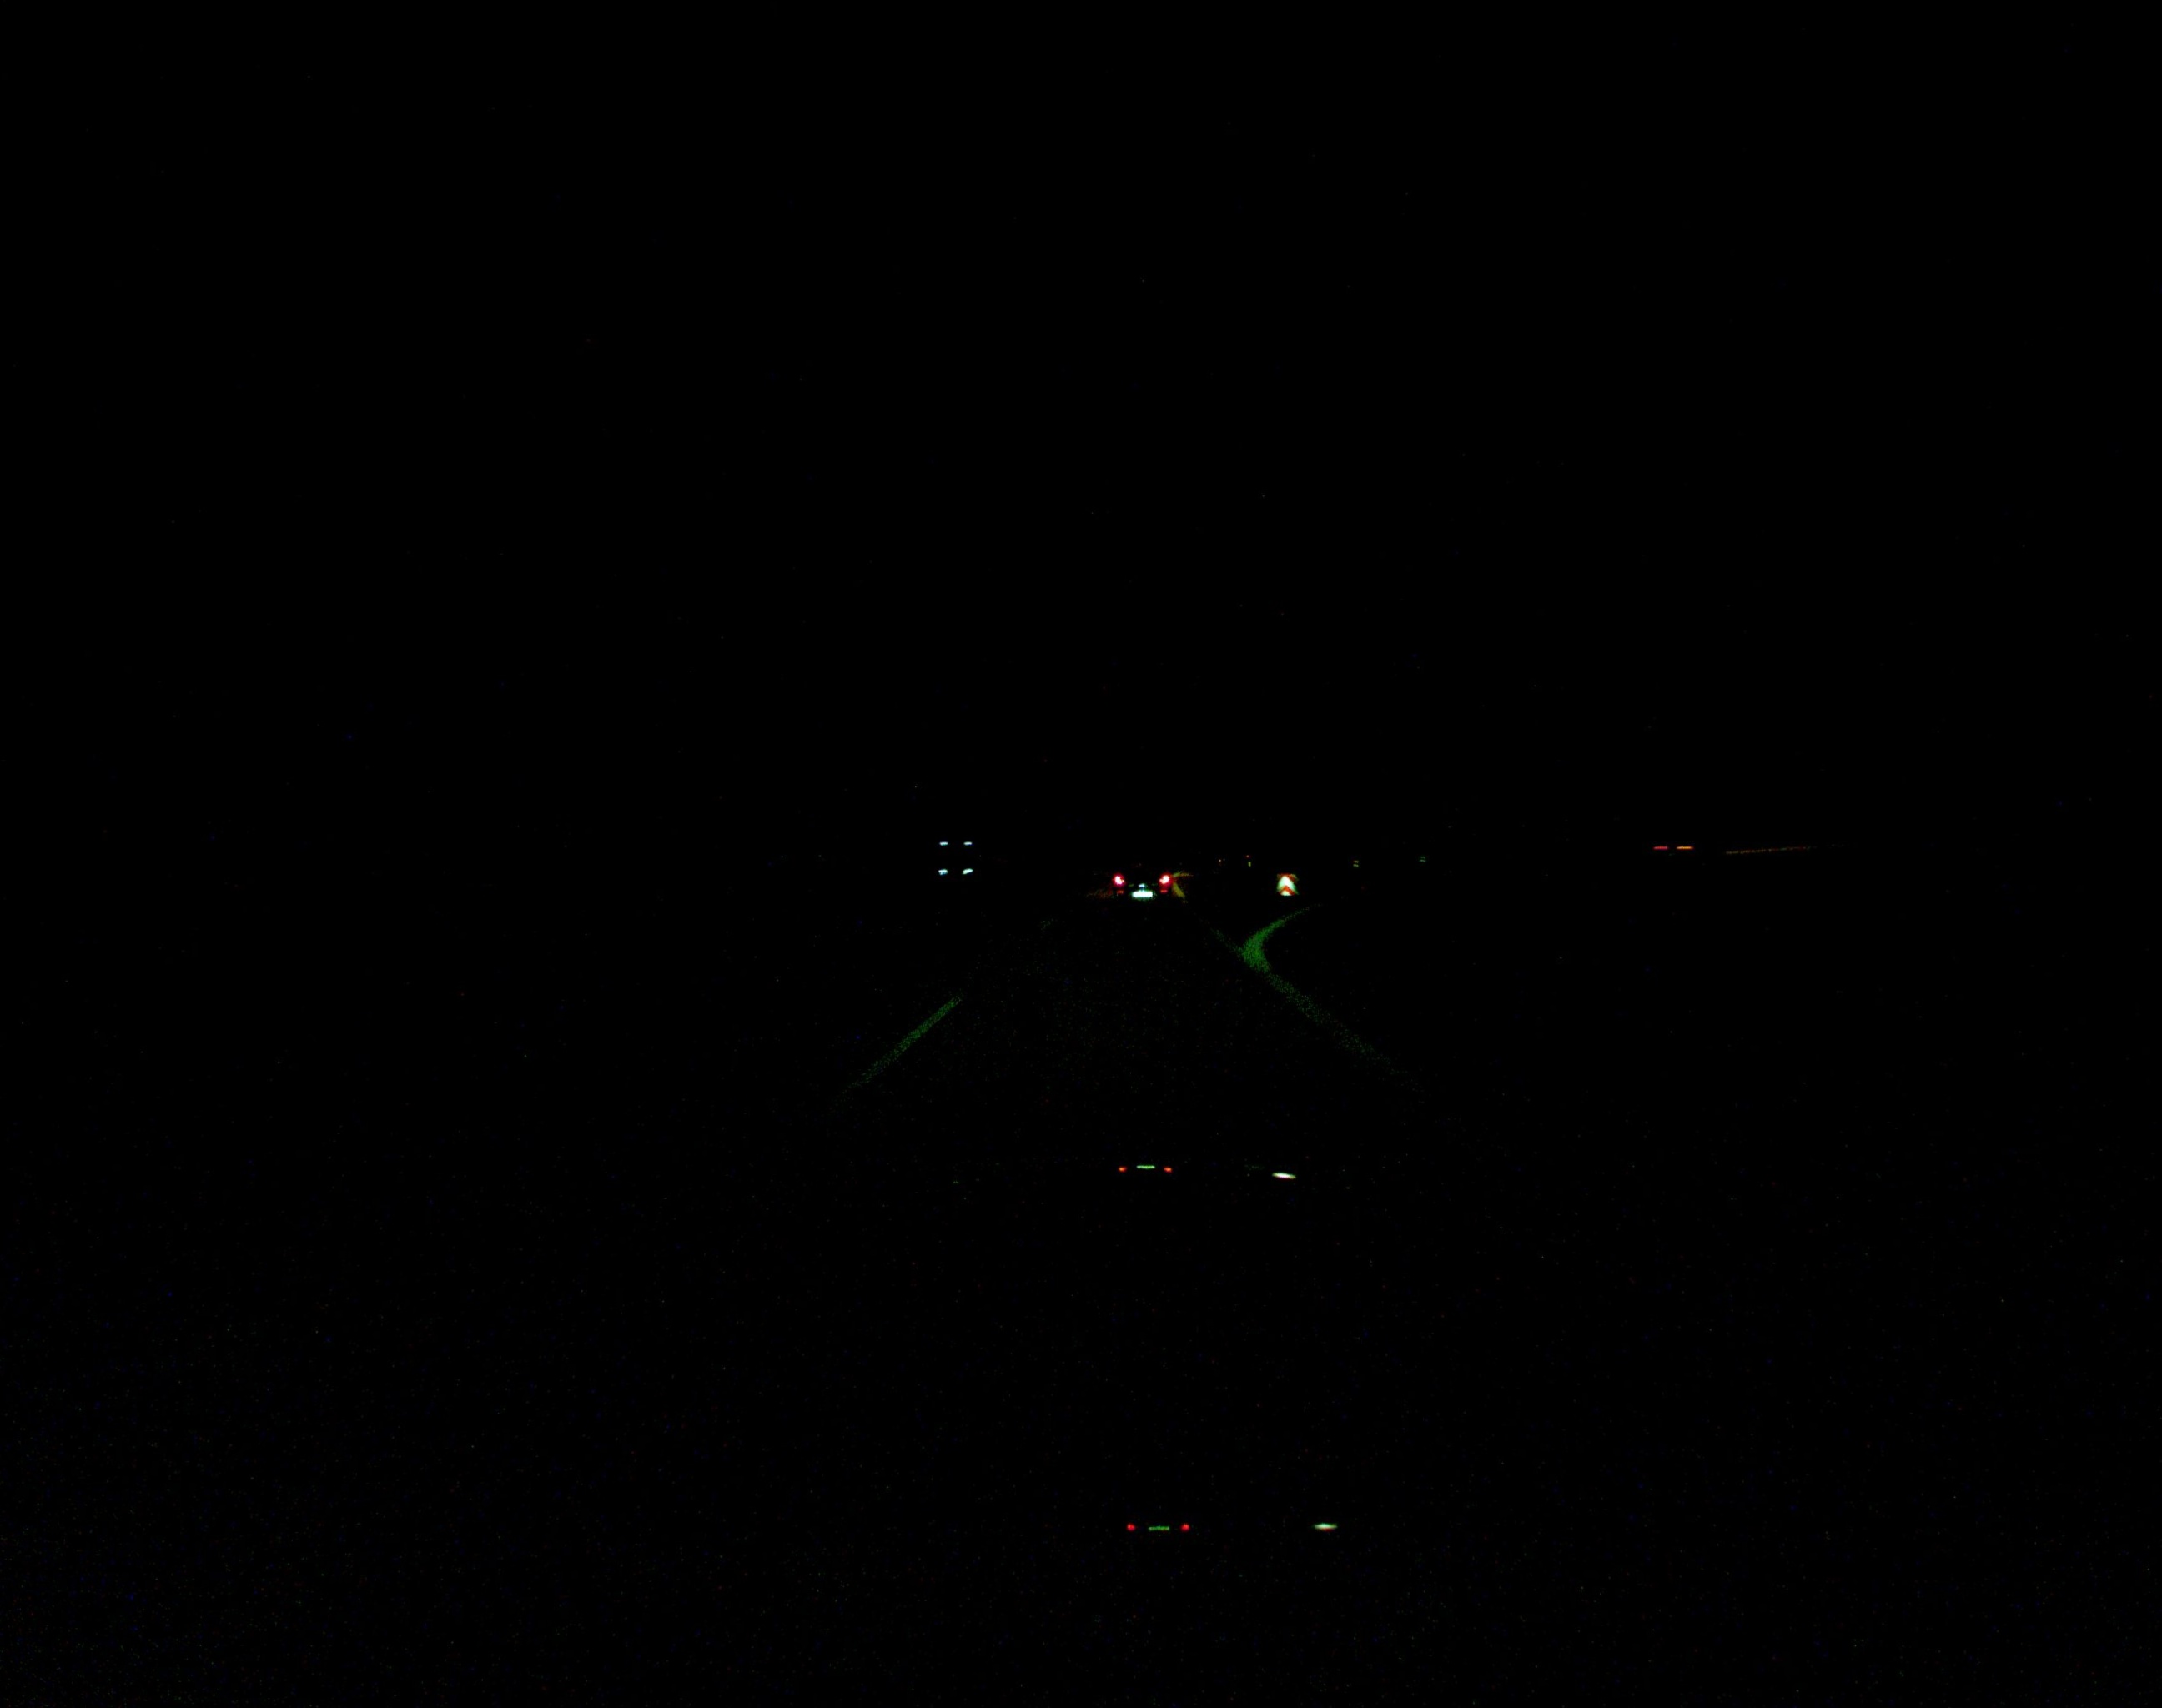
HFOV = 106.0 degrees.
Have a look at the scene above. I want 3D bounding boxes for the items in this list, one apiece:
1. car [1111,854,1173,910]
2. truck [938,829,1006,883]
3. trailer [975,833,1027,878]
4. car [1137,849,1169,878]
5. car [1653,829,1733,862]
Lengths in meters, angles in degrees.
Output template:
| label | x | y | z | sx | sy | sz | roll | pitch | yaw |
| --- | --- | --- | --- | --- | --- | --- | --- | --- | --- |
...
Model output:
| label | x | y | z | sx | sy | sz | roll | pitch | yaw |
| --- | --- | --- | --- | --- | --- | --- | --- | --- | --- |
| car | 1.747 | 0.775 | 24.246 | 1.583 | 1.508 | 4.000 | -1 | 0 | 1 |
| truck | -8.993 | 0.146 | 68.594 | 2.665 | 4.044 | 10.678 | -2 | 0 | 8 |
| trailer | -7.540 | 0.085 | 78.152 | 2.702 | 3.956 | 9.068 | -2 | 0 | 8 |
| car | 4.510 | 0.546 | 50.670 | 1.897 | 1.698 | 4.007 | -2 | 0 | 6 |
| car | 36.335 | -0.522 | 48.368 | 4.270 | 1.816 | 1.923 | -2 | 0 | -24 |
